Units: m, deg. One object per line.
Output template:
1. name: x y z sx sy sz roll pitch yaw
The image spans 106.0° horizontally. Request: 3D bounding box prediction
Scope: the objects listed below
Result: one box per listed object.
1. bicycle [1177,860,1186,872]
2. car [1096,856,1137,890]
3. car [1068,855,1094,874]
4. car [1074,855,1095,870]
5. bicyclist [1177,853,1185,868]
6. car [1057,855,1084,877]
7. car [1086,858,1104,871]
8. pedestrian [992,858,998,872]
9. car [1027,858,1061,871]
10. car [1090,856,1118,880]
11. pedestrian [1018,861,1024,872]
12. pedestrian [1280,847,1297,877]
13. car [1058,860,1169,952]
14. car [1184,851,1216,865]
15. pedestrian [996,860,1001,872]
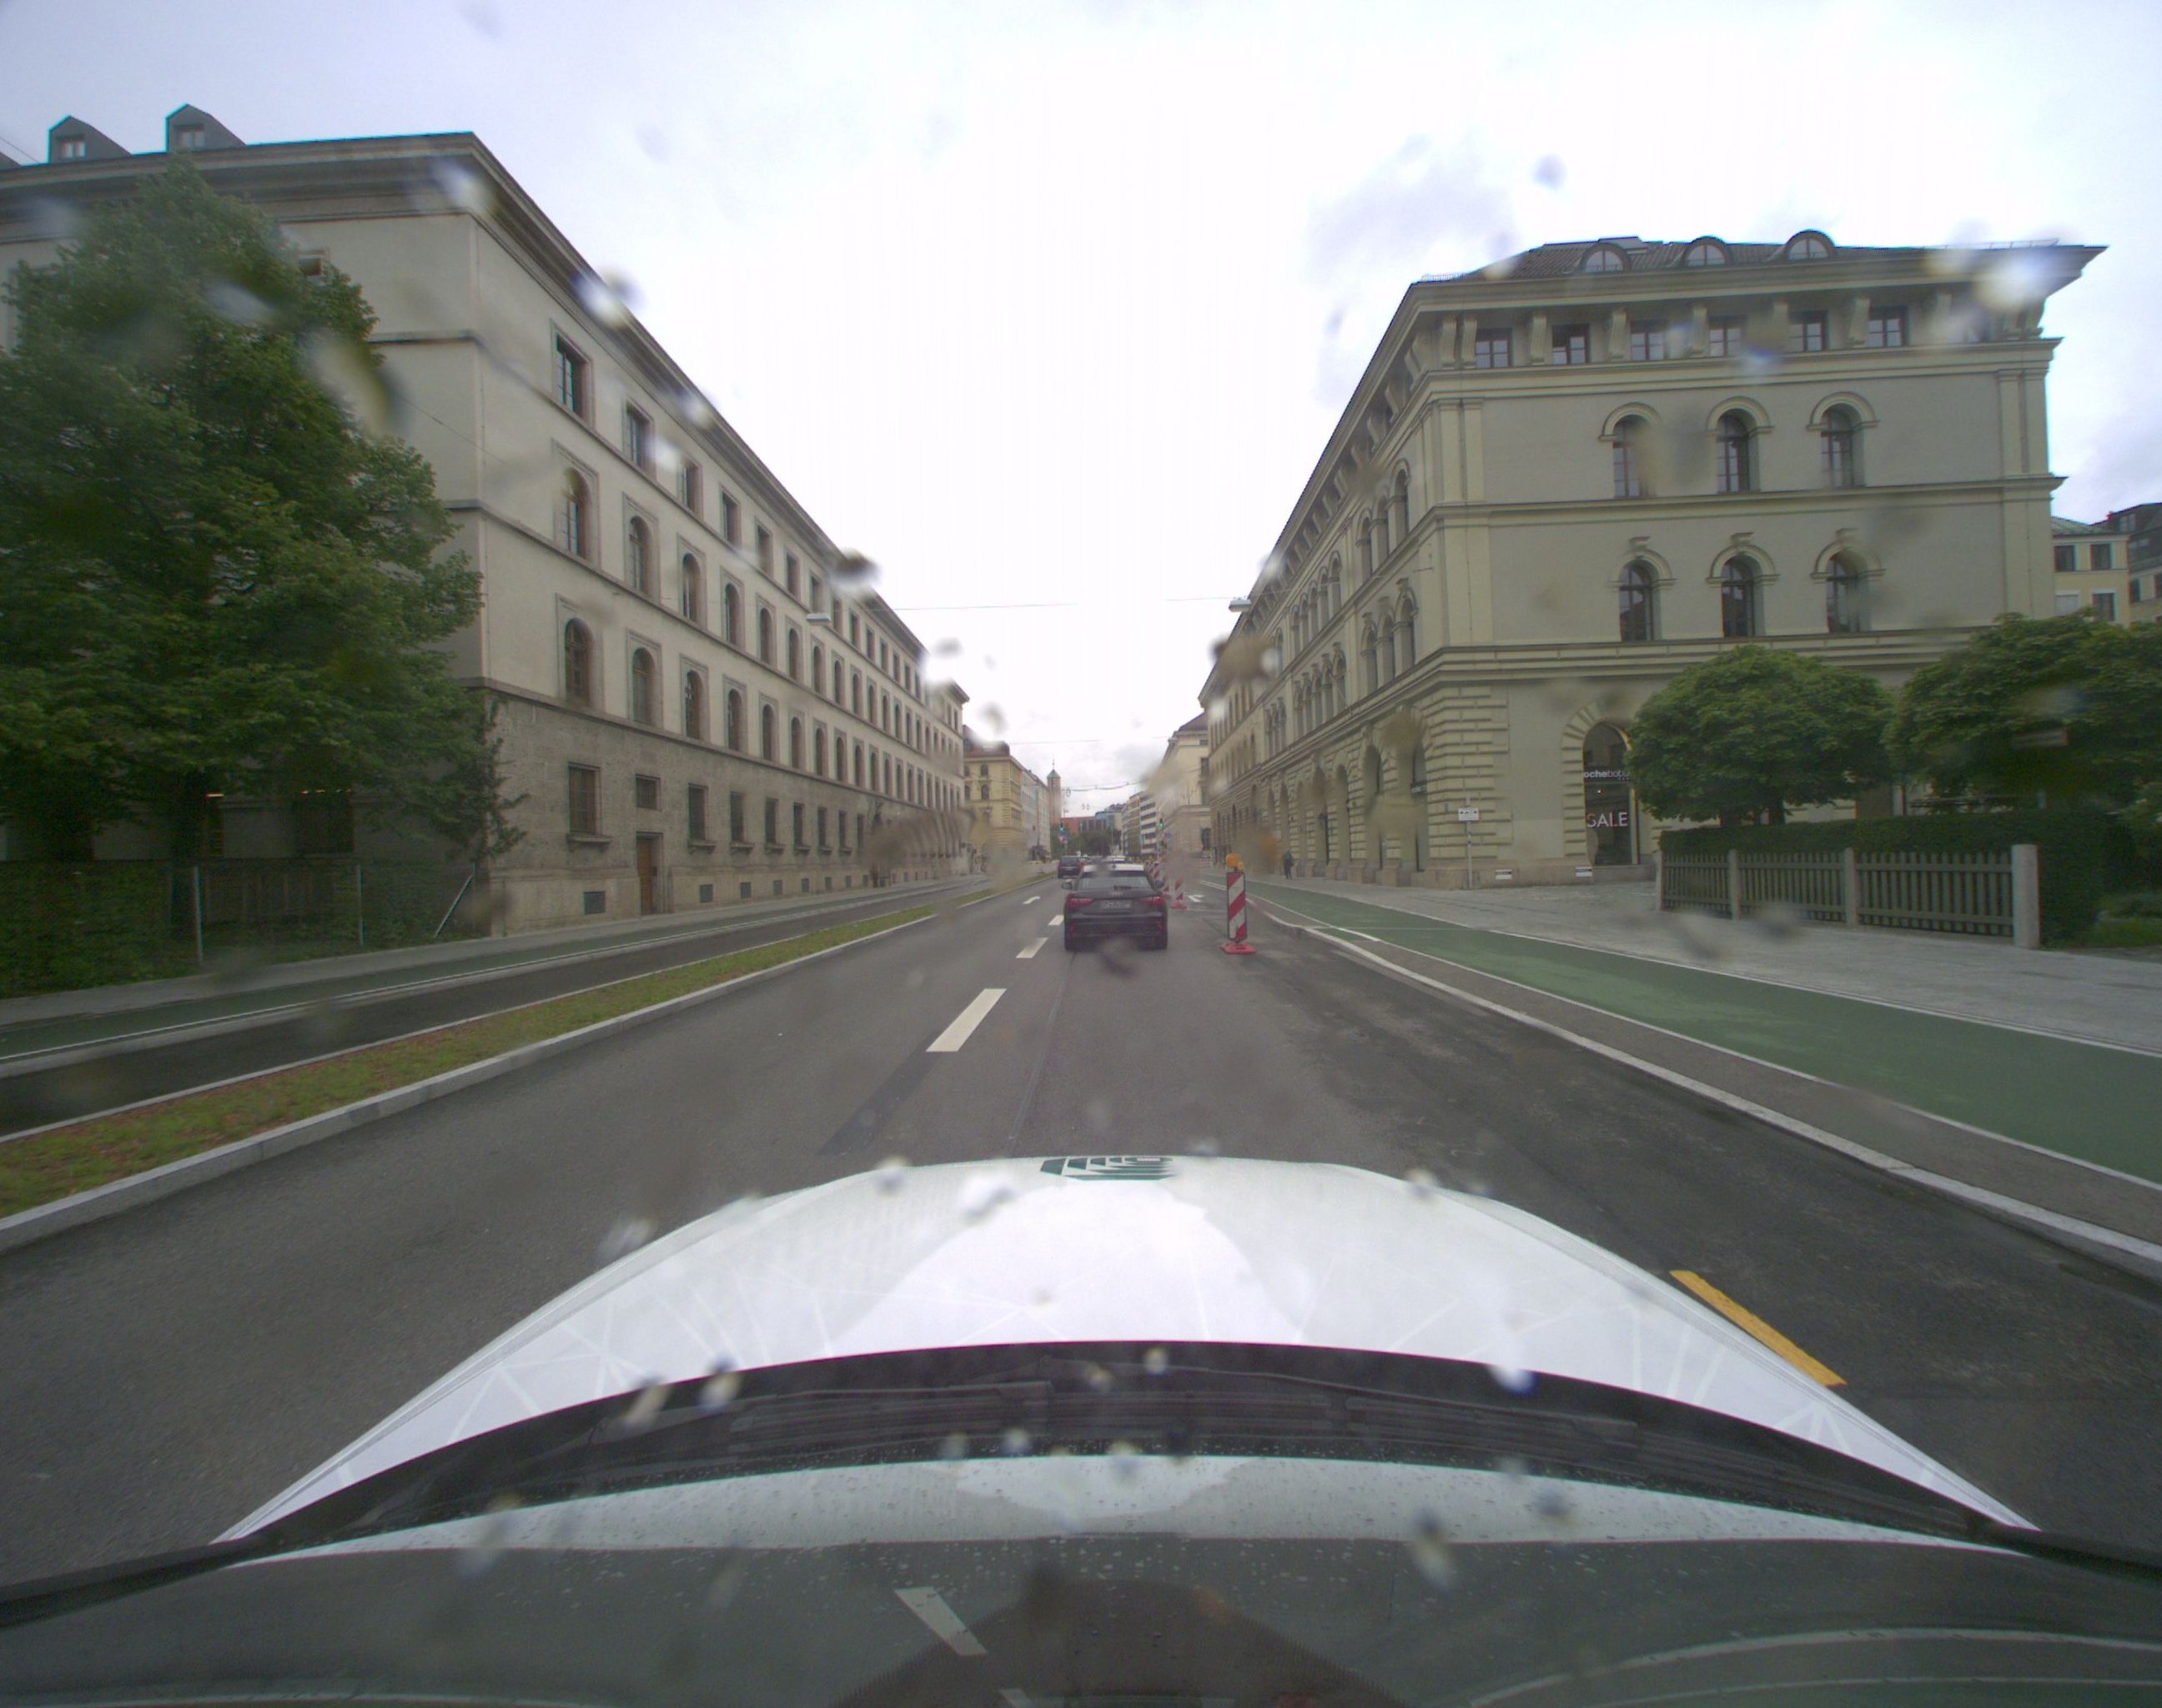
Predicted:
1. bicycle: 9.899 1.180 80.268 0.725 1.156 2.175 -2 0 5
2. car: 1.588 0.809 36.750 1.723 1.403 4.002 0 0 2
3. car: 0.034 0.910 71.720 1.985 1.627 4.003 -2 0 3
4. car: 0.378 0.897 83.758 1.985 1.444 4.003 -2 0 3
5. bicyclist: 9.868 0.660 80.174 0.706 1.500 0.755 -2 -1 5
6. car: -0.719 0.861 60.121 1.758 1.616 4.032 -1 0 2
7. car: 1.650 1.236 95.627 1.985 1.444 4.003 -2 0 3
8. pedestrian: -11.707 1.507 110.843 0.653 1.805 0.727 -2 -1 2
9. car: -4.532 1.293 98.658 3.821 1.398 1.748 -2 0 -16
10. car: 1.496 0.860 51.631 1.723 1.461 4.002 0 0 2
11. pedestrian: -8.472 1.749 115.123 0.653 1.590 0.727 -2 -1 2
12. pedestrian: 11.392 0.444 44.741 0.707 1.618 0.754 -2 -1 2
13. car: 0.594 0.833 14.821 1.723 1.403 4.002 0 0 2
14. car: 15.165 0.562 104.064 3.966 1.662 2.004 -2 0 6
15. pedestrian: -12.288 1.816 121.328 0.653 1.693 0.727 -2 -1 2
